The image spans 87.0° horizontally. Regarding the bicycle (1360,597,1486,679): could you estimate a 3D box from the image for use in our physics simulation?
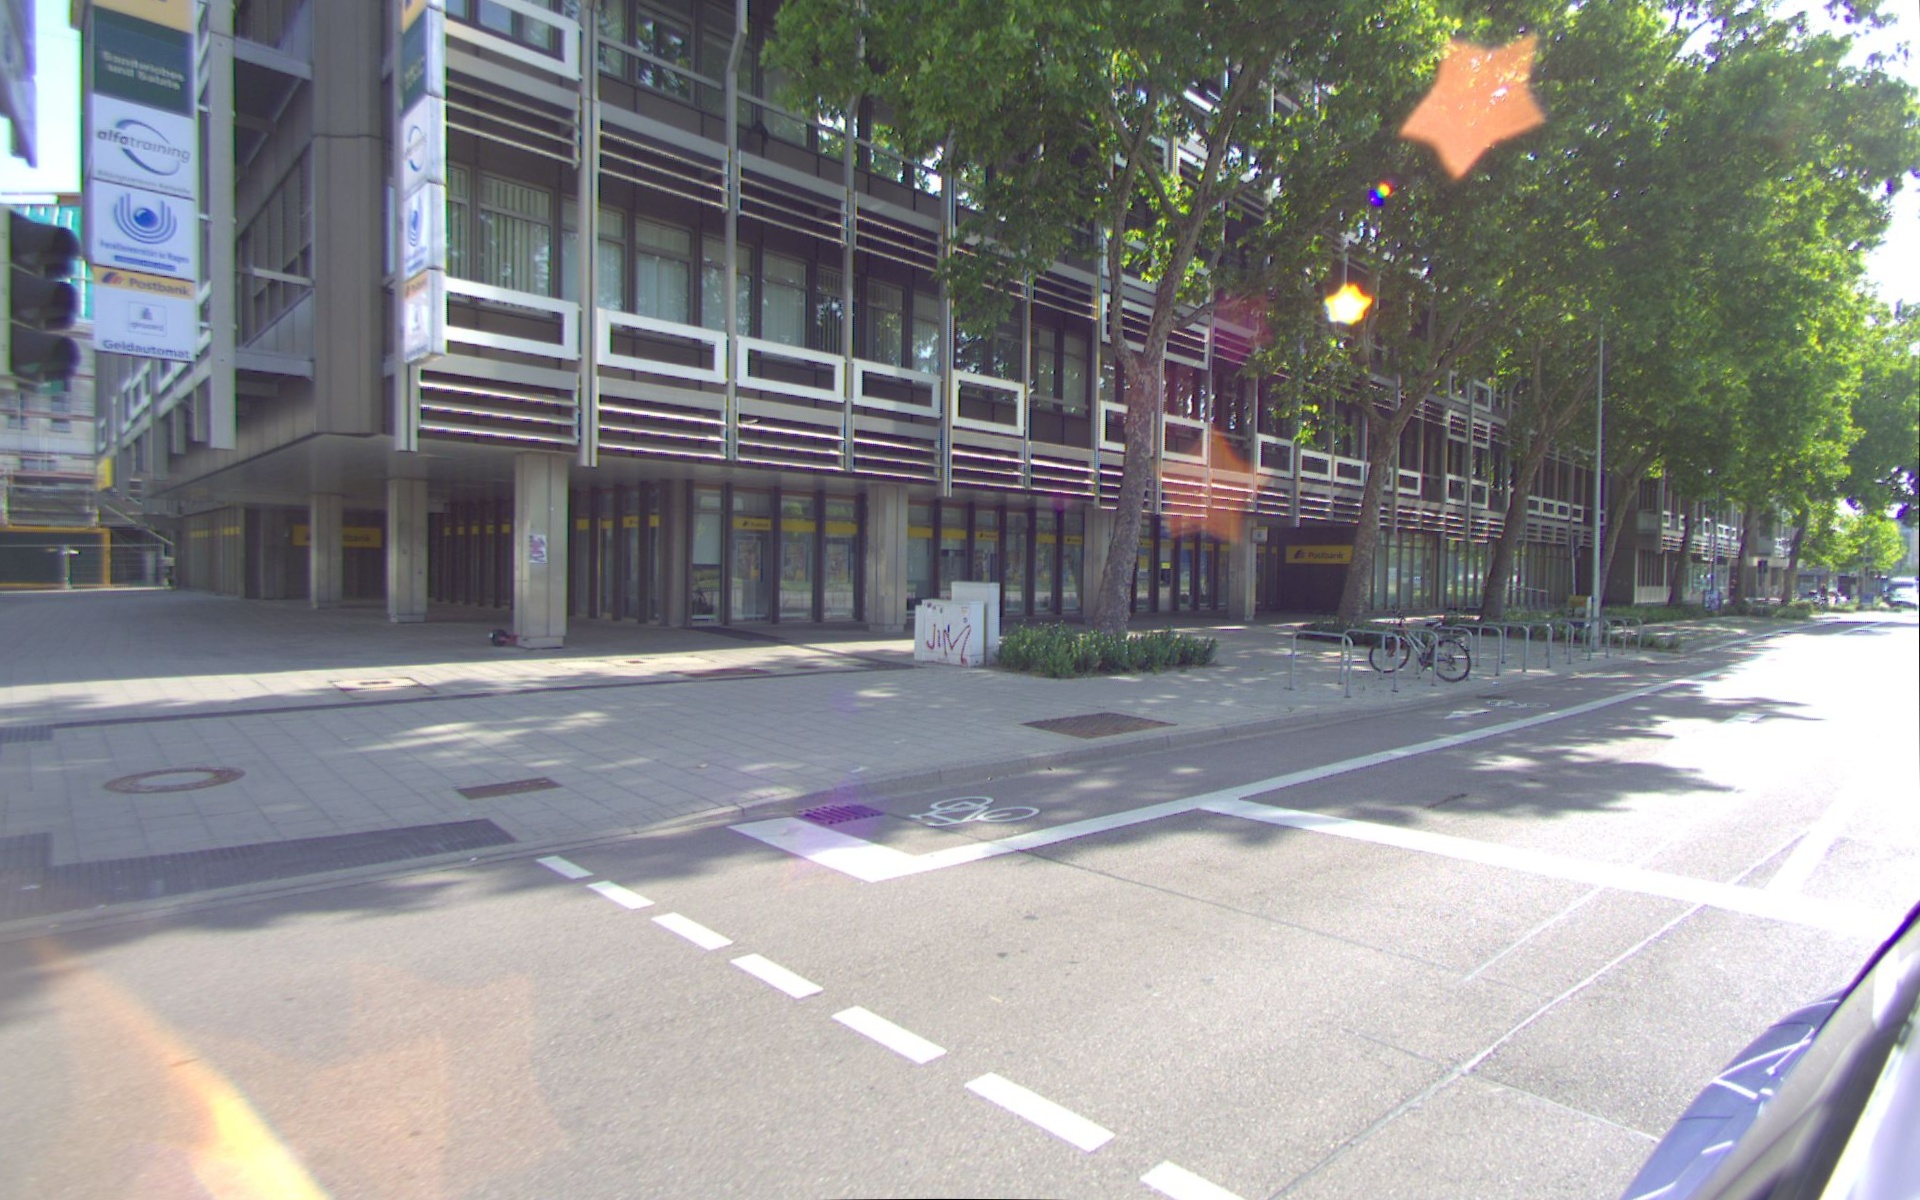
[{"bbox_3d":[7.664,0.594,16.827,0.527,1.202,1.833,0,3,-38],"label":"bicycle"}]

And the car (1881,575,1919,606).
[{"bbox_3d":[64.607,-0.644,69.286,3.934,2.039,1.995,-1,1,-44],"label":"car"}]
